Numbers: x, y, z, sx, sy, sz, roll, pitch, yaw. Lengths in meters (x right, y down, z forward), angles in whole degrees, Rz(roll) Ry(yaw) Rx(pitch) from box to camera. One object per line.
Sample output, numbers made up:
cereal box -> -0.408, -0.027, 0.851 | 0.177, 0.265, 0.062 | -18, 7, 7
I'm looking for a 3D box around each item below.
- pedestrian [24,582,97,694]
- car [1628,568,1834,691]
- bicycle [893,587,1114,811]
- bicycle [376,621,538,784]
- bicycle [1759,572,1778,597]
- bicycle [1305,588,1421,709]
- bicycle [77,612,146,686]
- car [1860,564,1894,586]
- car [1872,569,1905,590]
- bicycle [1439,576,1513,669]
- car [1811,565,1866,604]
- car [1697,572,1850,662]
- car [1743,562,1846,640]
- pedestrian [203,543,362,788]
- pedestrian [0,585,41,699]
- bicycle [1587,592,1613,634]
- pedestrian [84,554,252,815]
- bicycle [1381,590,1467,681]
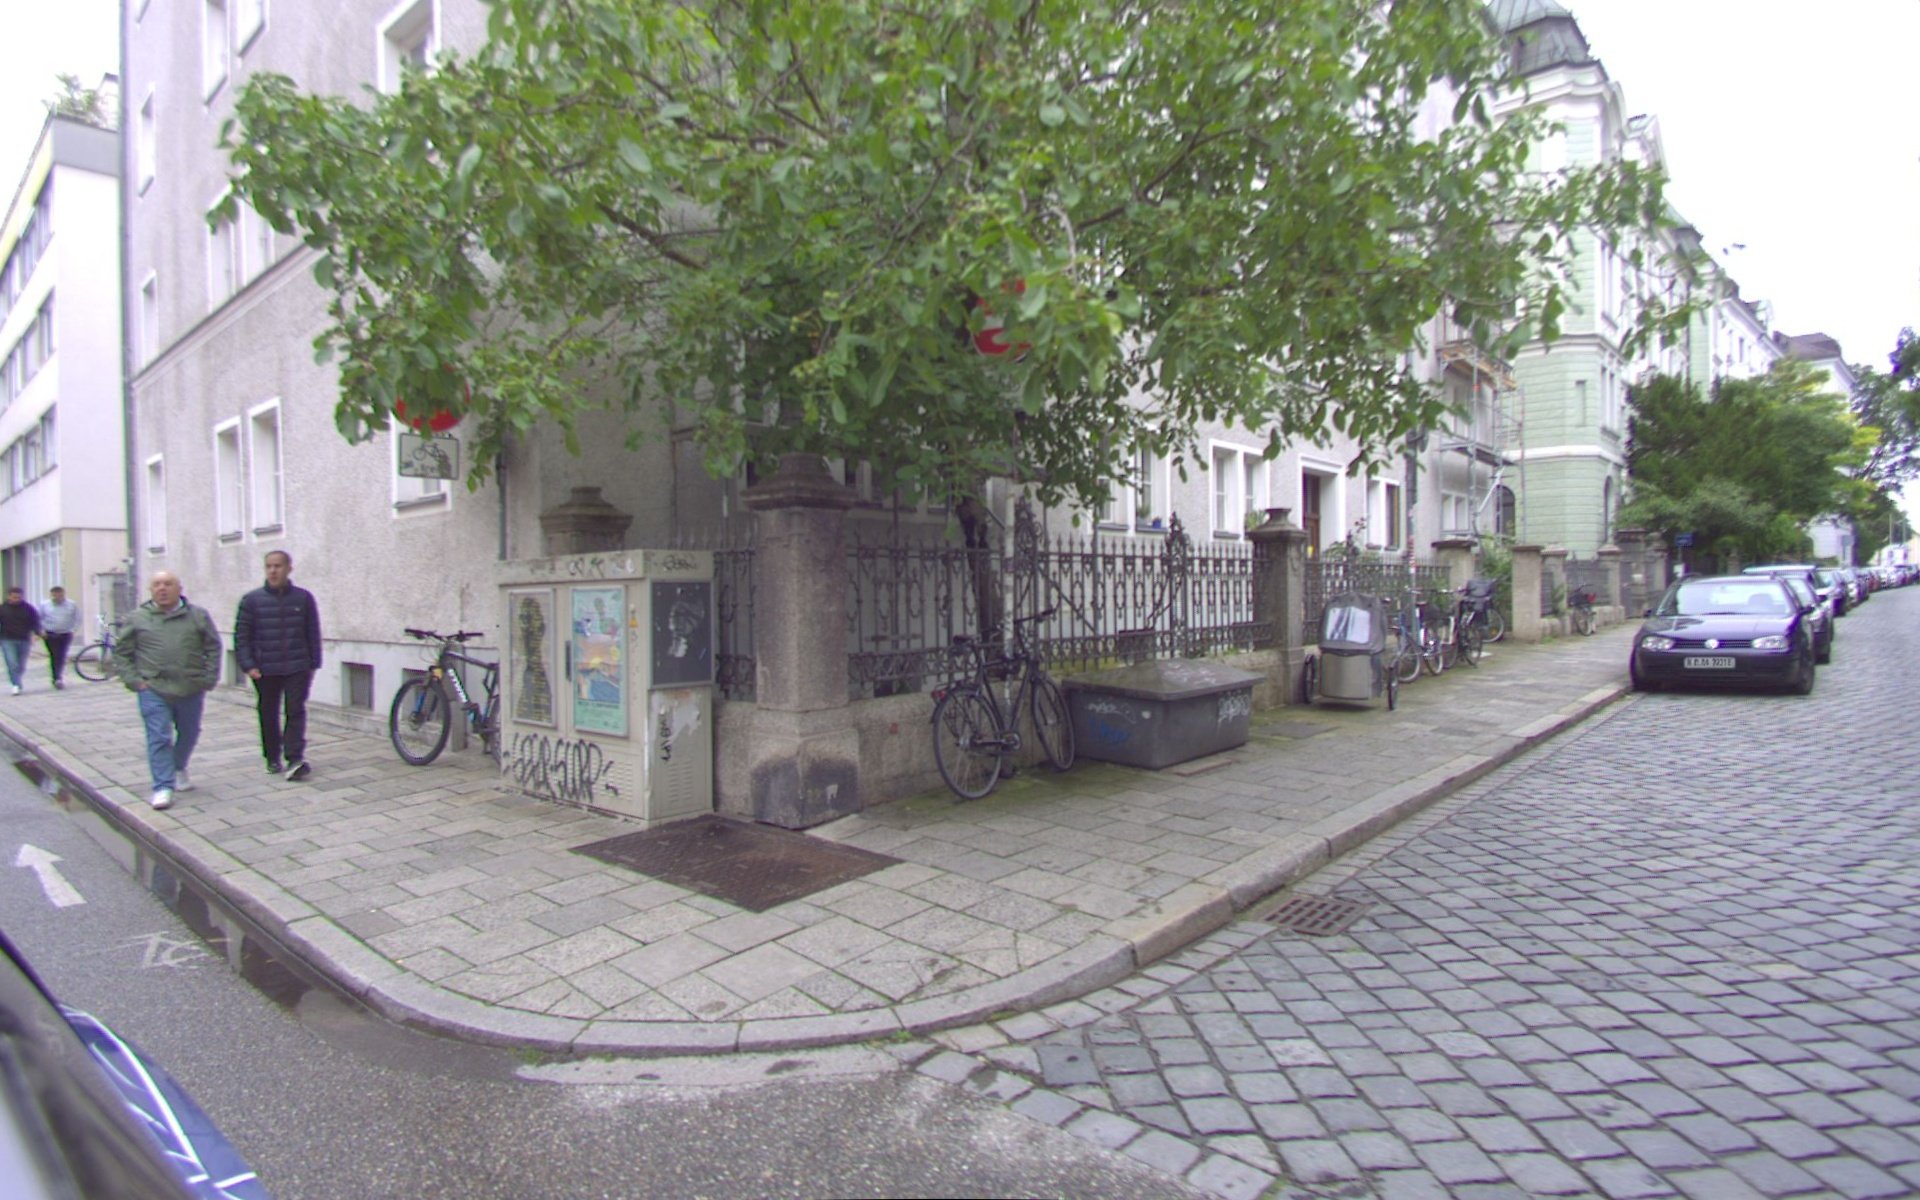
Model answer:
pedestrian -> -14.799, 0.600, 16.652 | 0.841, 1.740, 0.686 | -1, 4, 42
car -> 10.149, 0.283, 13.204 | 1.844, 1.336, 4.056 | -1, 1, 41
bicycle -> 0.346, 0.562, 6.626 | 0.432, 1.270, 1.788 | -1, 0, 40
bicycle -> -3.877, 0.729, 7.741 | 1.702, 1.103, 0.426 | -1, 2, 40
bicycle -> 40.633, -0.786, 50.855 | 0.579, 1.191, 2.486 | -1, 1, 43
bicycle -> 4.458, 0.461, 11.079 | 0.987, 1.165, 2.465 | -1, 0, 26
bicycle -> -14.481, 0.816, 17.269 | 1.495, 1.203, 0.445 | -1, 1, 32
car -> 61.523, -1.676, 67.919 | 1.496, 1.442, 3.551 | -1, 1, 39
car -> 65.600, -1.440, 71.499 | 1.496, 1.442, 3.551 | -1, 1, 39
bicycle -> 7.537, 0.300, 14.752 | 0.412, 1.283, 1.828 | -1, 0, 45
car -> 33.901, -0.614, 39.102 | 1.521, 1.439, 3.355 | -1, 1, 40
car -> 13.922, 0.216, 17.231 | 1.844, 1.336, 4.056 | -1, 1, 41
car -> 18.091, -0.021, 21.884 | 1.588, 1.533, 3.609 | -1, 1, 41
pedestrian -> -5.217, 0.467, 7.806 | 0.739, 1.776, 0.684 | -1, 2, 31
pedestrian -> -15.261, 0.668, 16.113 | 0.841, 1.740, 0.712 | -1, 4, 42
bicycle -> 14.221, 0.277, 22.472 | 0.405, 0.880, 1.704 | -1, 1, 35
pedestrian -> -5.574, 0.546, 7.124 | 0.859, 1.690, 0.683 | -1, 3, 40
bicycle -> 6.069, 0.435, 13.193 | 0.412, 1.112, 1.828 | -1, 0, 45
